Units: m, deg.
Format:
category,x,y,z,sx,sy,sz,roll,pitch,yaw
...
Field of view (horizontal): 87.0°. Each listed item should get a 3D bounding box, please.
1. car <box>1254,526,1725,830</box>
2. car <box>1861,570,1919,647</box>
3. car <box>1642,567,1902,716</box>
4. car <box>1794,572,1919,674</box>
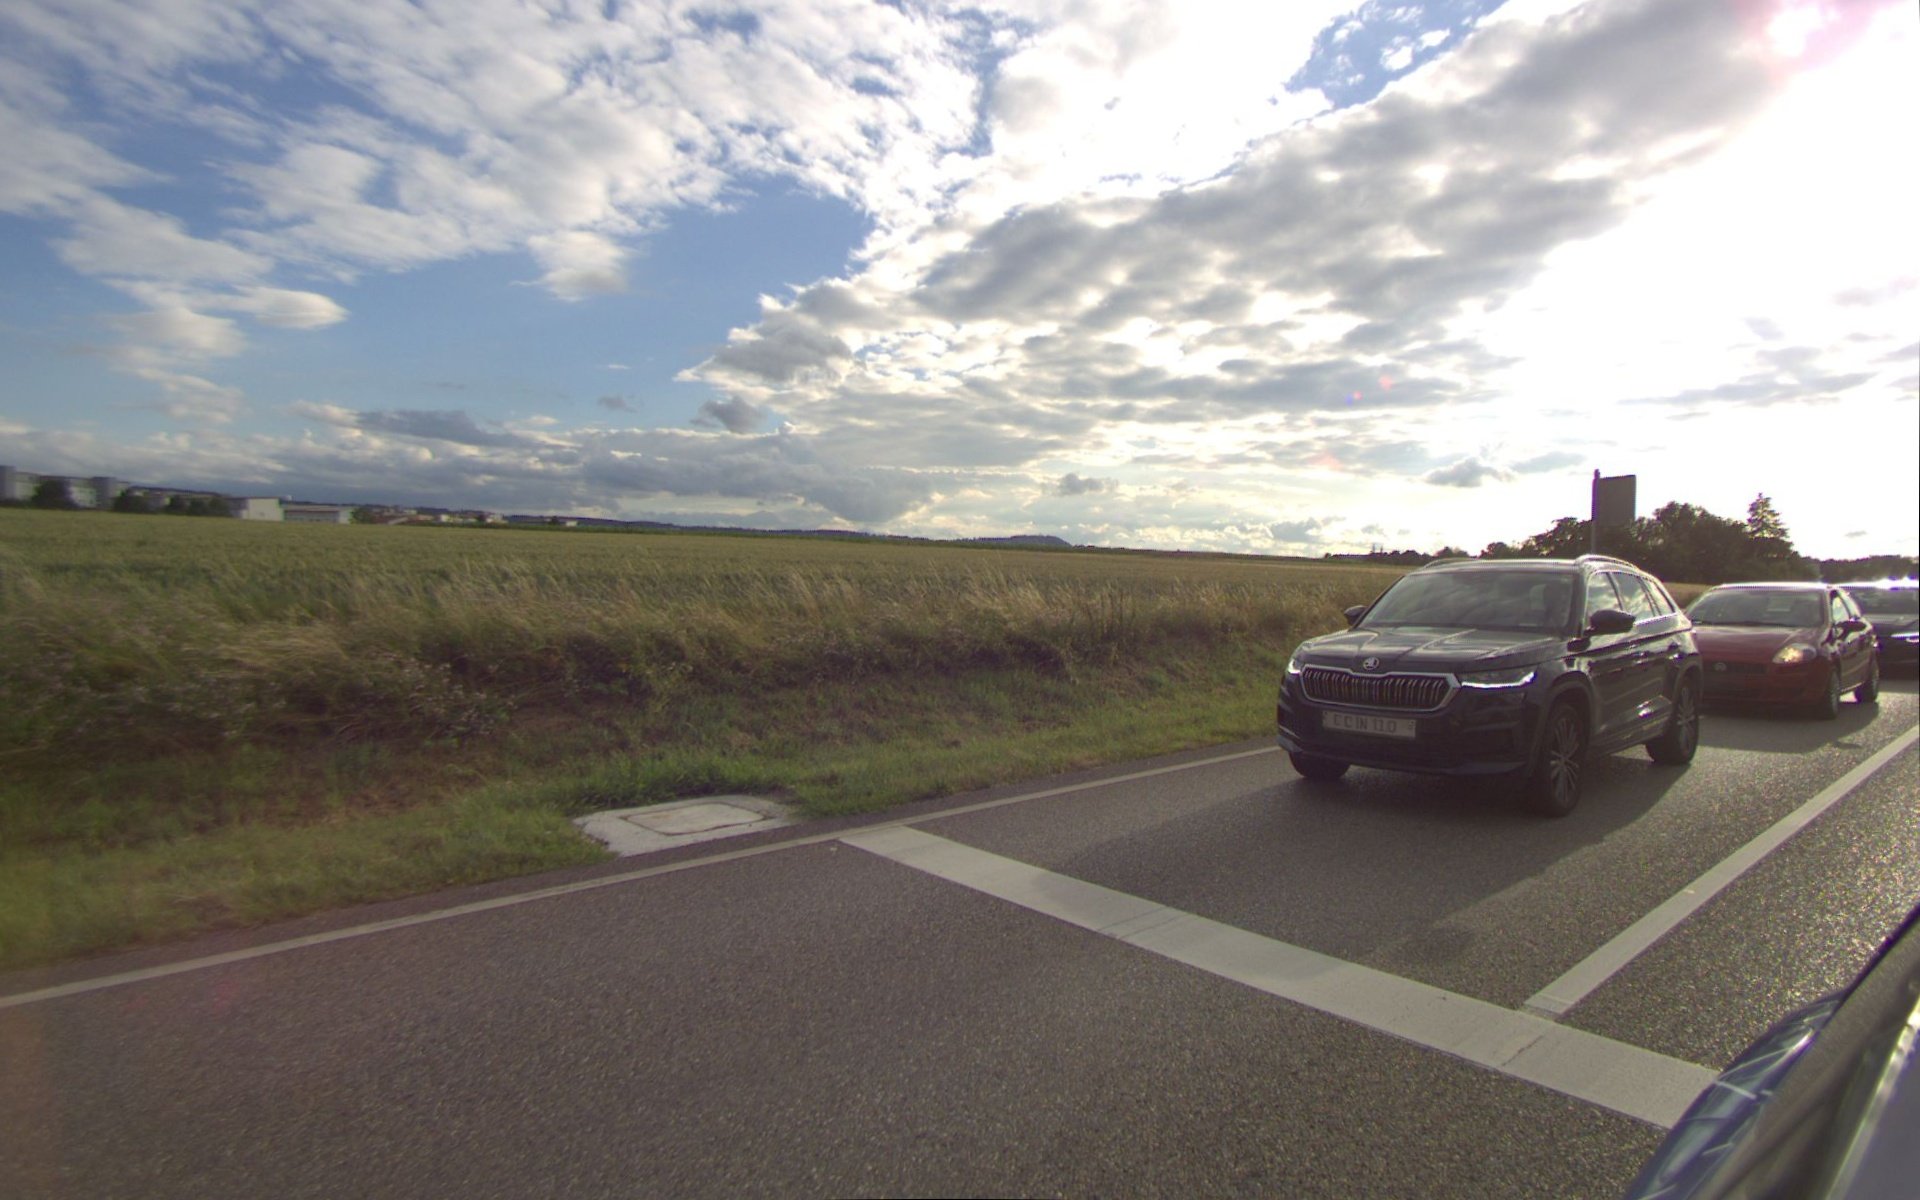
category,x,y,z,sx,sy,sz,roll,pitch,yaw
car,4.212,0.400,7.703,4.342,1.688,1.722,-1,1,-41
car,19.877,0.150,20.764,3.414,1.494,1.629,-1,1,-41
car,9.691,0.387,11.991,3.796,1.494,1.668,-1,1,-39
car,15.048,0.308,16.438,3.798,1.494,1.722,-1,1,-41
